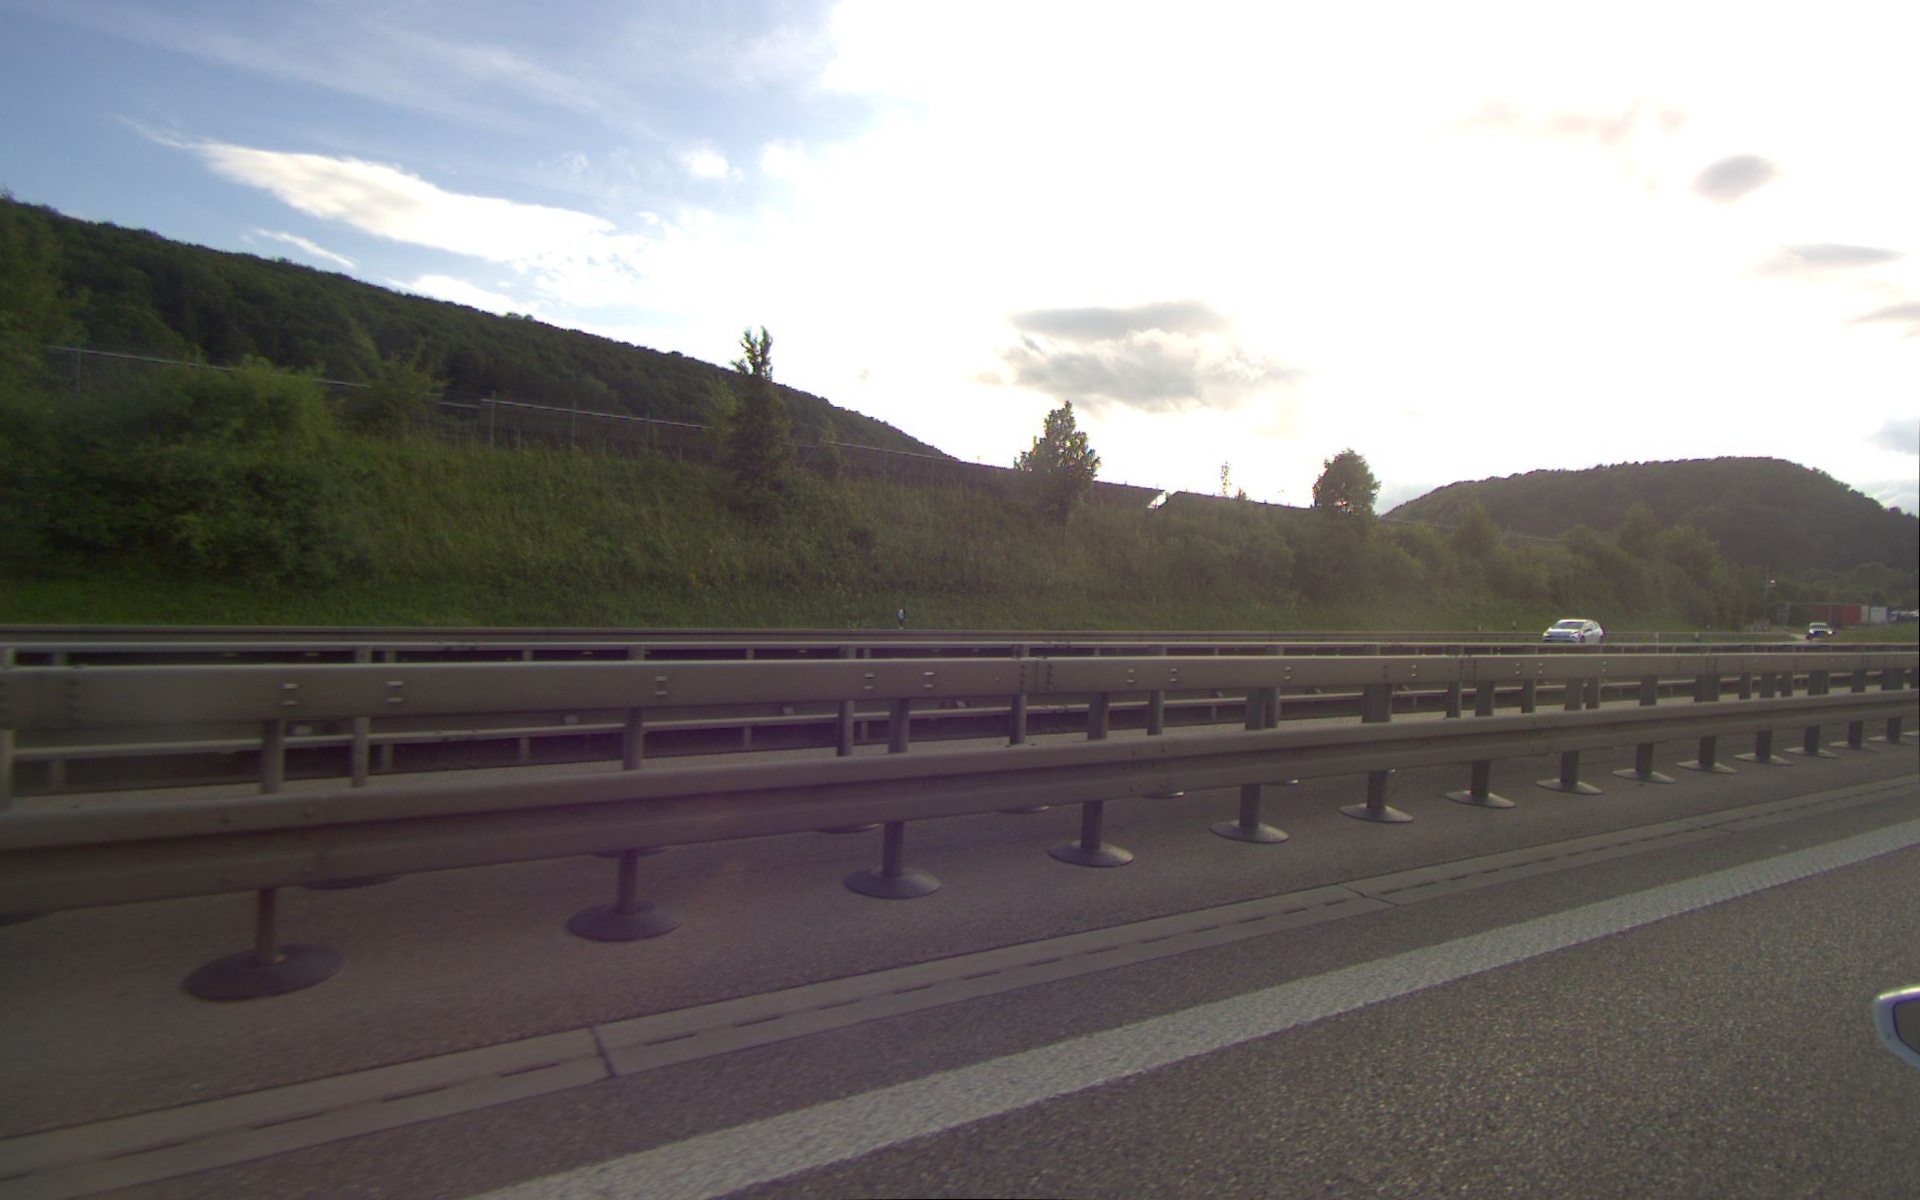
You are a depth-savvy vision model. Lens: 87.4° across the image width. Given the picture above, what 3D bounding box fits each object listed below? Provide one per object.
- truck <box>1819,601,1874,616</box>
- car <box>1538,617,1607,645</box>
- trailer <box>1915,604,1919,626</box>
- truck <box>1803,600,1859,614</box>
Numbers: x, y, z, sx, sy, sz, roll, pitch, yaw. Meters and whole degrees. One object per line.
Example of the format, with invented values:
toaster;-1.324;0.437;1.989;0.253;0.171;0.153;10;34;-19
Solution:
truck;140.408;1.348;159.212;2.842;2.256;7.312;0;0;6
car;31.595;1.600;51.767;4.346;1.376;1.745;2;-2;-39
trailer;131.605;2.212;135.249;12.155;2.891;2.559;3;-1;-38
truck;135.539;1.126;156.433;2.842;2.040;7.313;0;-1;6
